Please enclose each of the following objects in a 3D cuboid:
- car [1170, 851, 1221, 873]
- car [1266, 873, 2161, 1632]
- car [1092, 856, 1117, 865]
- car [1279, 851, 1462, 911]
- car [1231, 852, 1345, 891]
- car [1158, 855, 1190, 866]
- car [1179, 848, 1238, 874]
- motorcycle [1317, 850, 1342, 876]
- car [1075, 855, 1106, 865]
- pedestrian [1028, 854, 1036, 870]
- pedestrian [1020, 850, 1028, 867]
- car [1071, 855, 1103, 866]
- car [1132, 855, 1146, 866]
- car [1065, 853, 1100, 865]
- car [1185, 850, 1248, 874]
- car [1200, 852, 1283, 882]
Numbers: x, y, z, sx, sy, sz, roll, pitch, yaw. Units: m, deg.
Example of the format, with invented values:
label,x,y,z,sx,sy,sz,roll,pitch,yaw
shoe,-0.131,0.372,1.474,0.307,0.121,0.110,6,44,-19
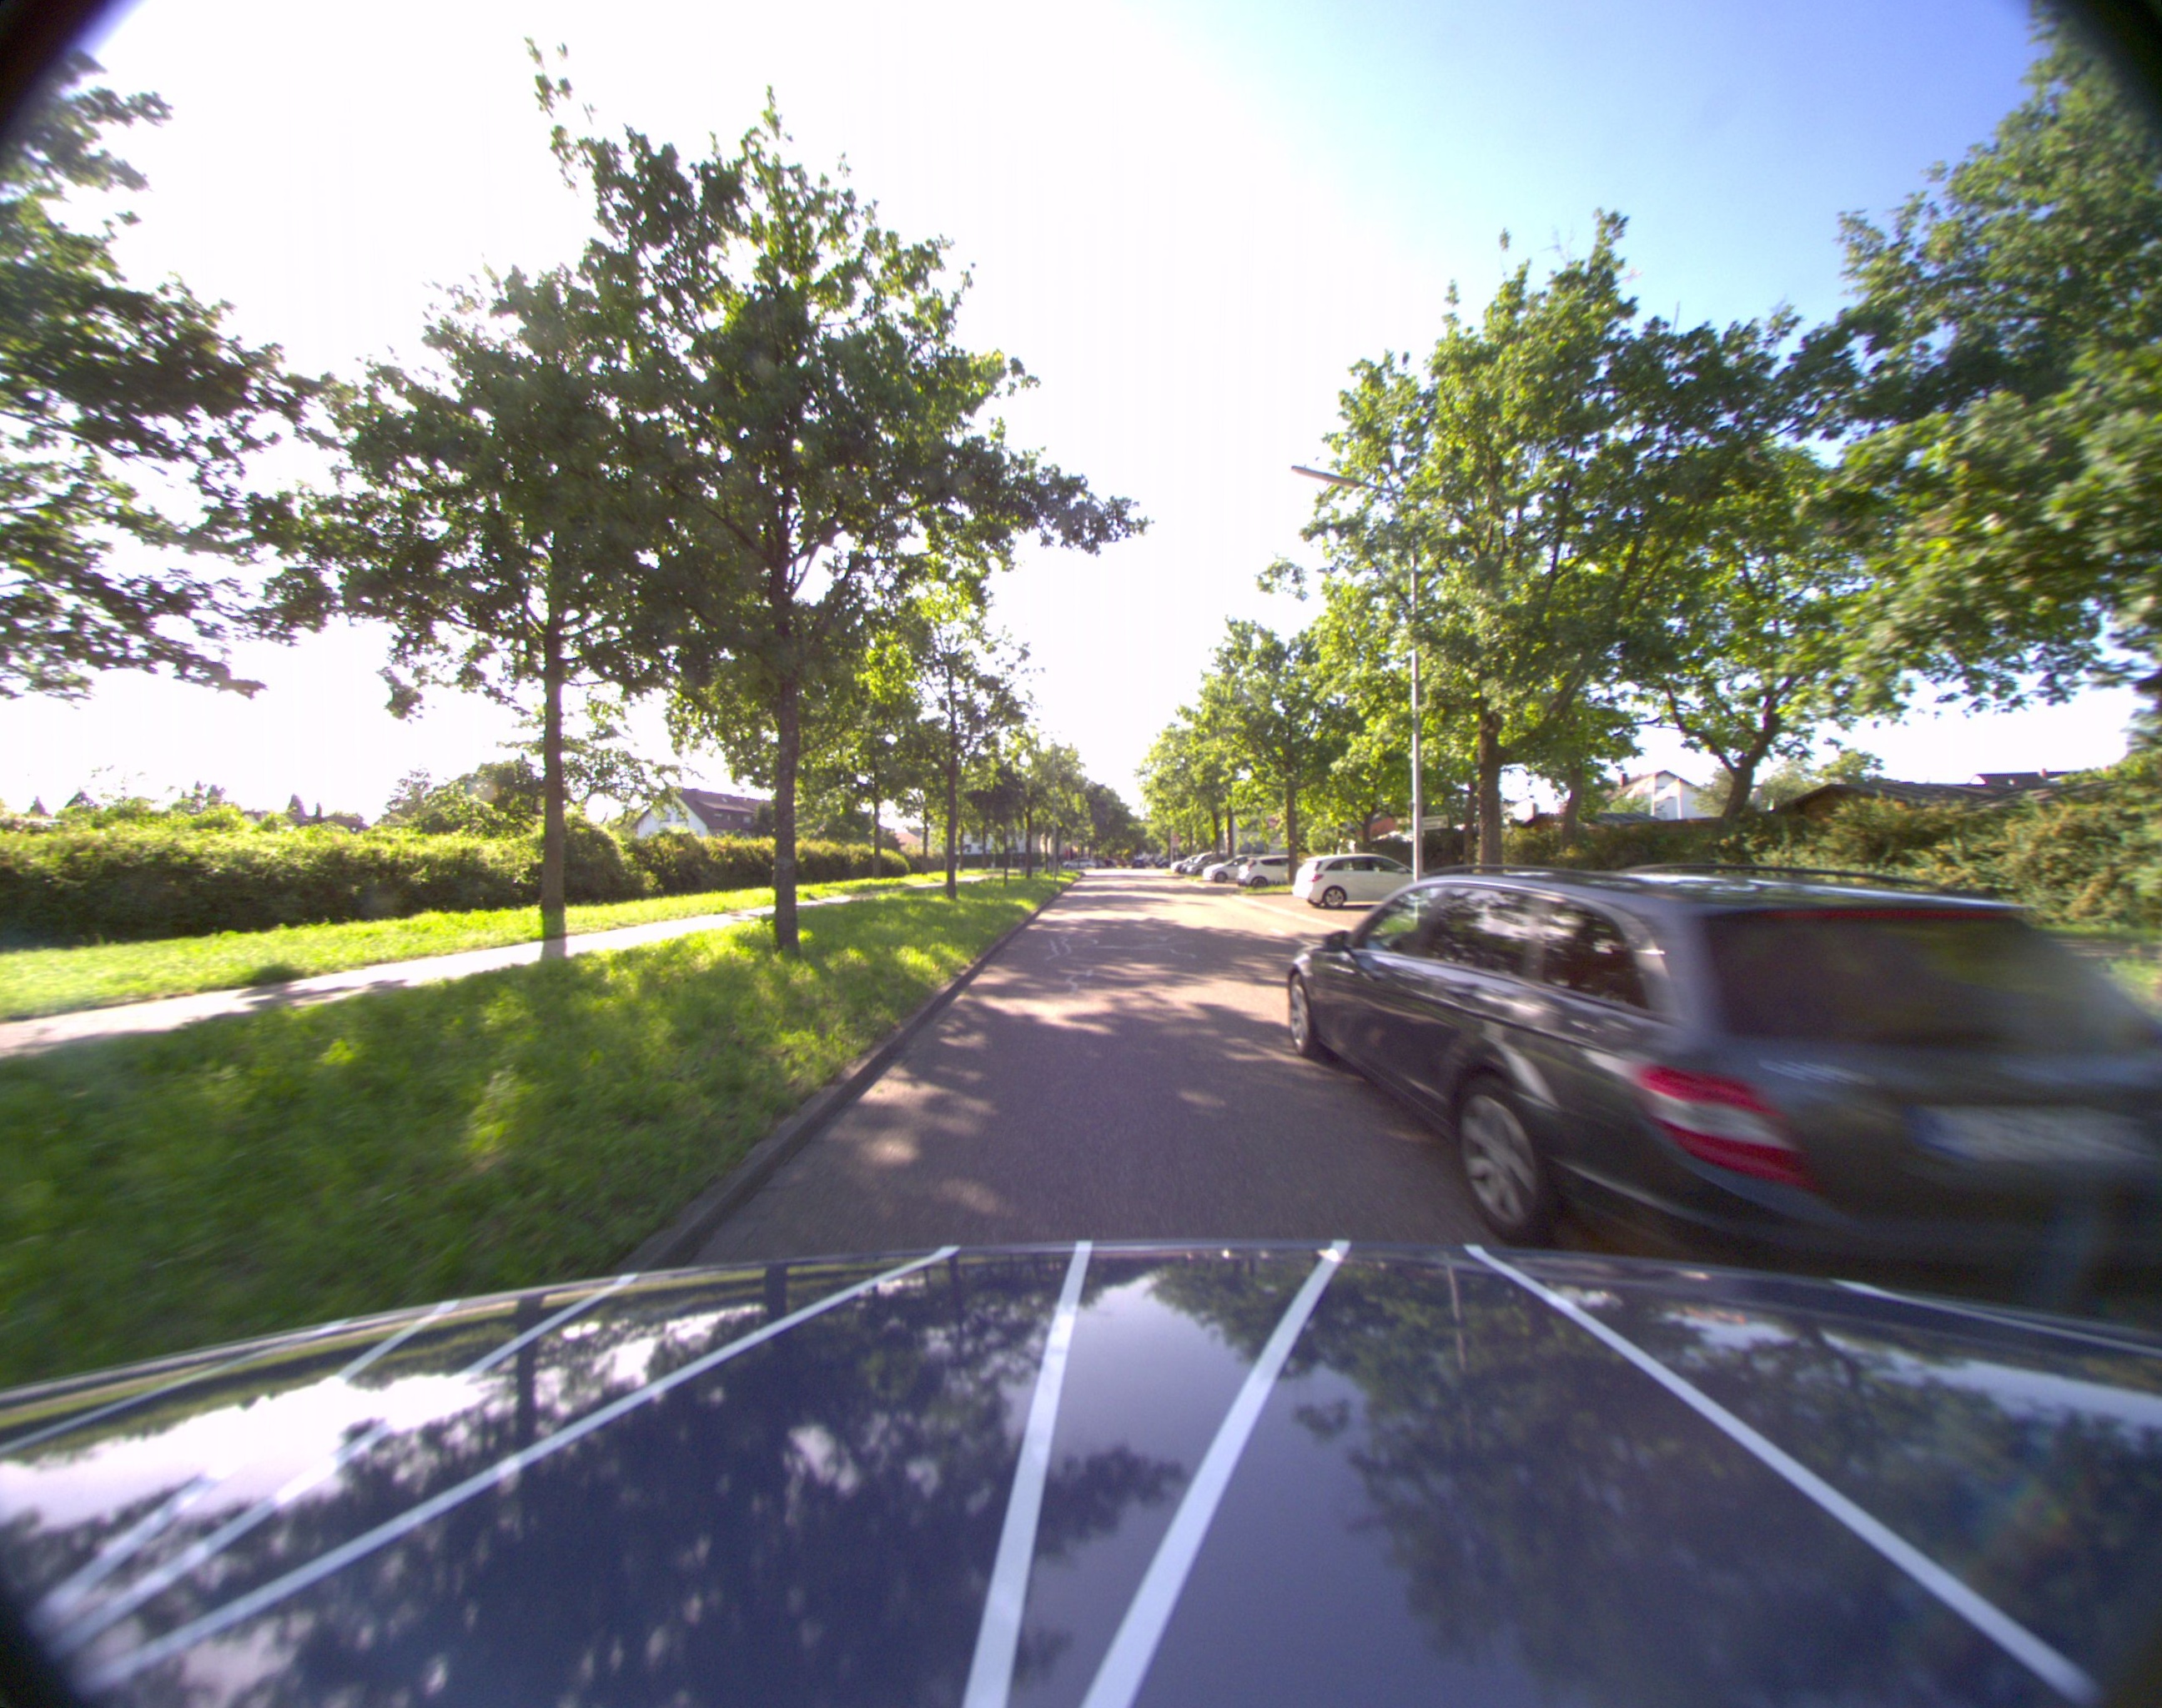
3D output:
label,x,y,z,sx,sy,sz,roll,pitch,yaw
car,9.715,0.669,64.512,4.072,1.633,1.876,-2,0,4
car,2.411,0.913,3.867,1.770,1.520,4.495,1,0,-1
car,4.188,1.145,134.842,4.511,1.470,1.942,0,0,3
car,8.594,0.789,22.859,4.639,1.549,2.191,-2,0,-2
car,9.065,0.766,33.550,4.423,1.502,2.088,-2,0,1
car,12.000,0.834,98.264,4.033,1.470,1.942,0,0,8
car,9.899,0.557,59.114,4.238,1.872,1.999,-2,0,2
motorcycle,14.190,0.506,43.456,0.739,1.424,1.991,-4,0,2
car,1.420,0.875,113.853,4.511,1.470,1.942,0,0,3
pedestrian,-5.824,0.924,90.366,0.869,1.855,0.665,0,1,-13
pedestrian,-6.854,0.562,91.817,0.835,2.002,0.610,0,1,-16
car,0.849,0.922,108.929,4.511,1.470,1.942,0,0,3
car,7.455,0.813,98.348,1.688,1.394,4.428,0,0,3
car,0.212,0.676,100.183,4.511,1.470,1.942,0,0,3
car,9.579,0.580,53.973,4.145,1.547,1.866,-2,0,3
car,9.190,0.734,43.837,4.422,1.547,2.089,-2,0,3
